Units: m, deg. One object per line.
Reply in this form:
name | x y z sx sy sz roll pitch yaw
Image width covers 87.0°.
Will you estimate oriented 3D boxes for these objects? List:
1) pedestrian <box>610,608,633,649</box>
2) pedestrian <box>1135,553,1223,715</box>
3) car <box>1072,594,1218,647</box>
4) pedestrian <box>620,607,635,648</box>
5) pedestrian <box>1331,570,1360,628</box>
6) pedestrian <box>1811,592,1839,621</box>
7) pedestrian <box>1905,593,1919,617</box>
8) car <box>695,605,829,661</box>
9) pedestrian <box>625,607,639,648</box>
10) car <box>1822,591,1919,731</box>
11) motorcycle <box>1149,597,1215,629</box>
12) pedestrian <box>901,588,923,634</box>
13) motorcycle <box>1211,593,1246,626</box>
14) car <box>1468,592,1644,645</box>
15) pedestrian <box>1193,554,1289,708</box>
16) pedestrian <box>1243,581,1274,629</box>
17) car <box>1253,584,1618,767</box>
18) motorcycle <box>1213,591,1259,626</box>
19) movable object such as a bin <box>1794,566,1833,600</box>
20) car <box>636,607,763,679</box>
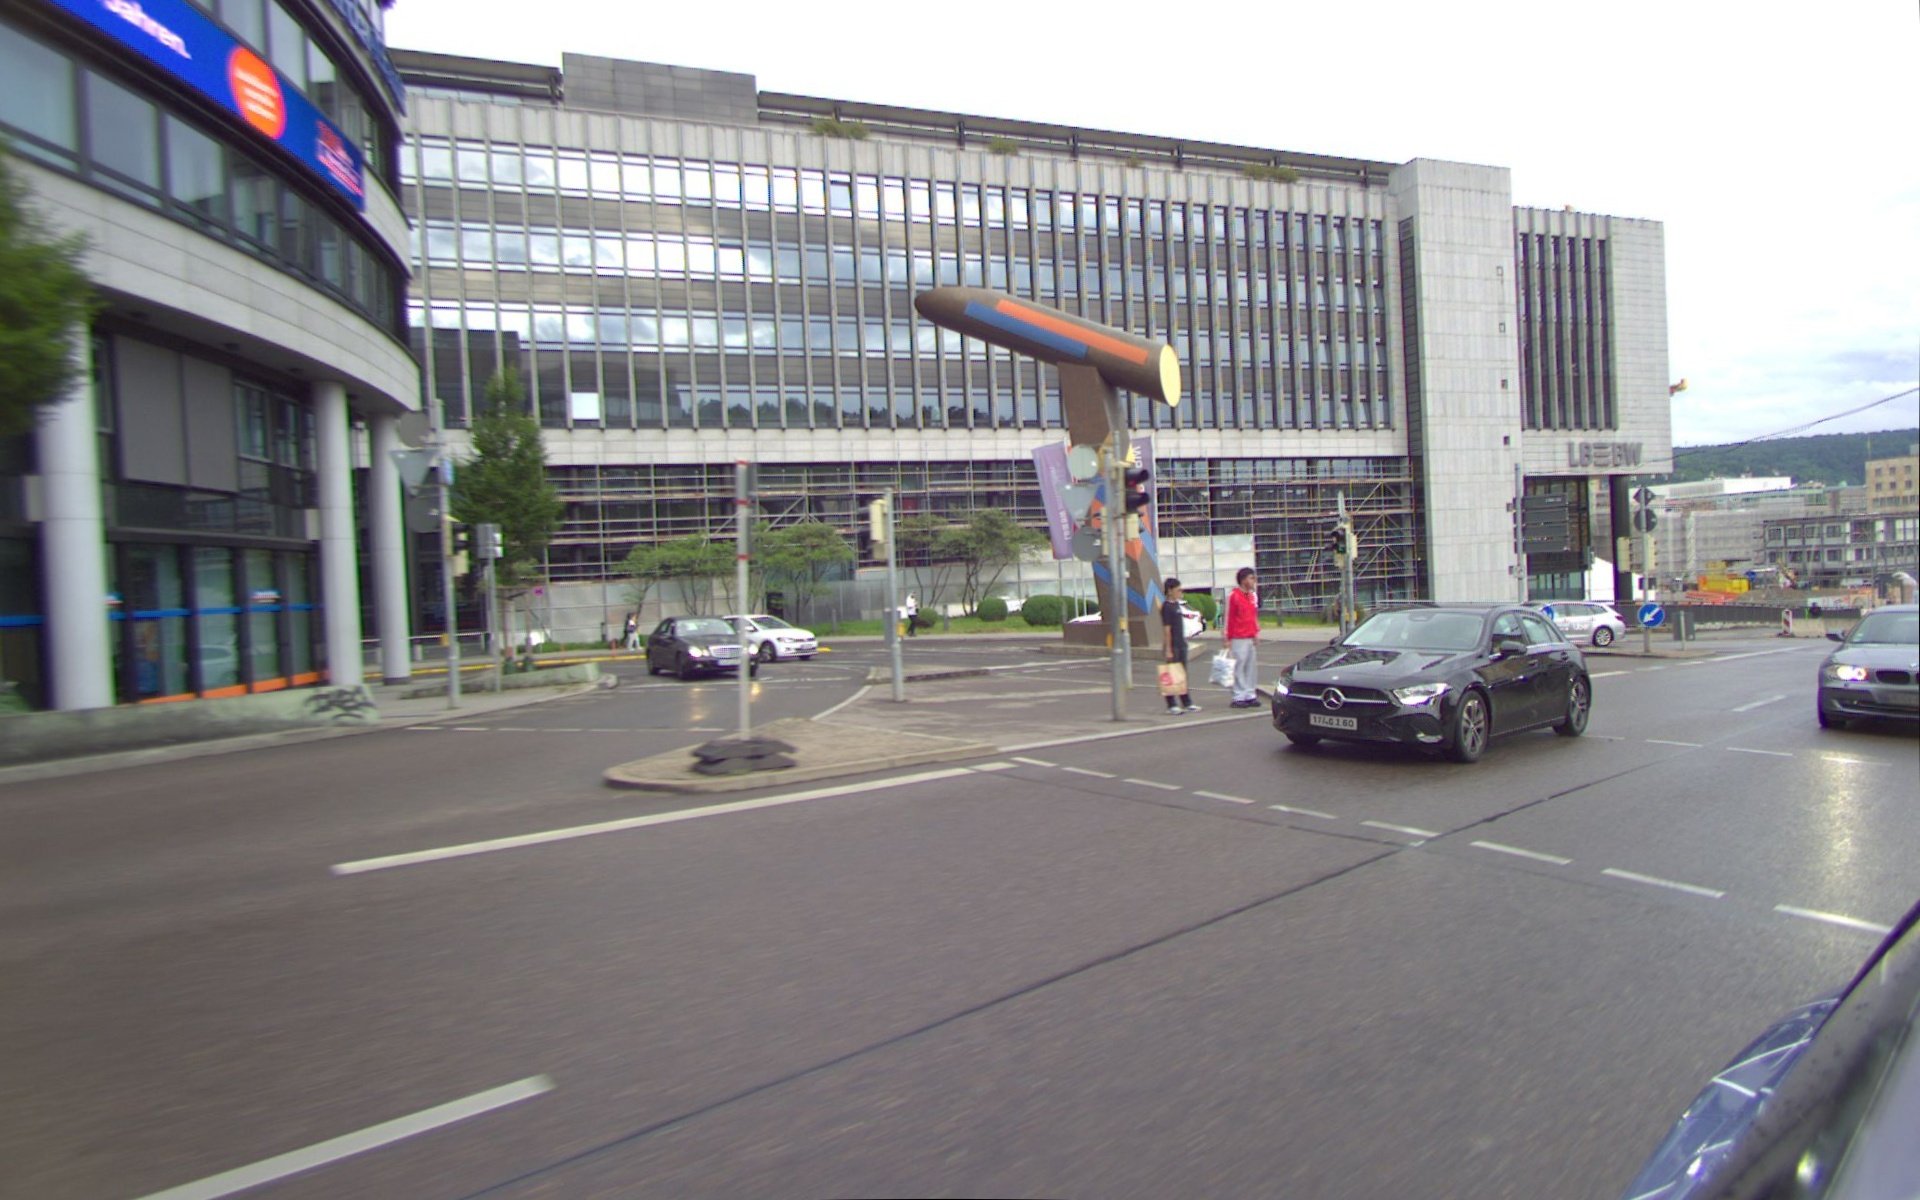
pedestrian | -15.031 1.256 44.959 0.885 1.769 0.946 0 -1 -13
pedestrian | 2.725 0.397 12.648 0.717 1.928 0.845 -2 1 -14
car | 6.155 0.654 33.686 4.528 1.655 1.763 0 0 23
pedestrian | -14.307 1.168 43.530 0.541 1.769 0.563 0 -1 -13
pedestrian | 14.352 -0.020 37.689 0.846 2.126 0.896 -3 -2 27
pedestrian | 50.315 0.375 58.847 1.039 1.673 0.733 -1 0 -12
pedestrian | 66.698 0.337 70.504 0.933 1.613 0.865 -2 1 -12
car | -6.044 1.002 30.694 3.980 1.459 1.842 -2 2 40
pedestrian | -14.319 1.179 44.155 0.541 1.769 0.563 0 -1 -13
car | 11.532 0.618 11.787 3.931 1.461 1.742 0 0 -42
motorcycle | 8.700 0.504 39.717 2.564 1.094 0.625 4 3 43
pedestrian | -1.960 0.437 41.413 0.766 1.840 0.971 -2 1 1
motorcycle | 10.713 0.385 40.398 1.240 1.286 0.610 1 0 43
car | 18.339 0.537 31.216 4.522 1.469 1.708 -1 0 -7
pedestrian | 3.674 0.389 13.300 0.843 1.929 0.844 -2 -1 -14
pedestrian | 11.148 0.172 37.787 0.829 1.732 0.731 -3 1 -40
car | 4.919 0.601 10.216 4.153 1.425 1.758 -2 0 -40
motorcycle | 11.152 0.329 40.981 1.724 1.371 0.597 1 0 43
movable object such as a bin | 92.066 -1.870 109.153 4.149 3.451 1.944 -3 1 -33
car | -6.326 0.937 24.178 1.830 1.460 4.719 -3 1 -28
